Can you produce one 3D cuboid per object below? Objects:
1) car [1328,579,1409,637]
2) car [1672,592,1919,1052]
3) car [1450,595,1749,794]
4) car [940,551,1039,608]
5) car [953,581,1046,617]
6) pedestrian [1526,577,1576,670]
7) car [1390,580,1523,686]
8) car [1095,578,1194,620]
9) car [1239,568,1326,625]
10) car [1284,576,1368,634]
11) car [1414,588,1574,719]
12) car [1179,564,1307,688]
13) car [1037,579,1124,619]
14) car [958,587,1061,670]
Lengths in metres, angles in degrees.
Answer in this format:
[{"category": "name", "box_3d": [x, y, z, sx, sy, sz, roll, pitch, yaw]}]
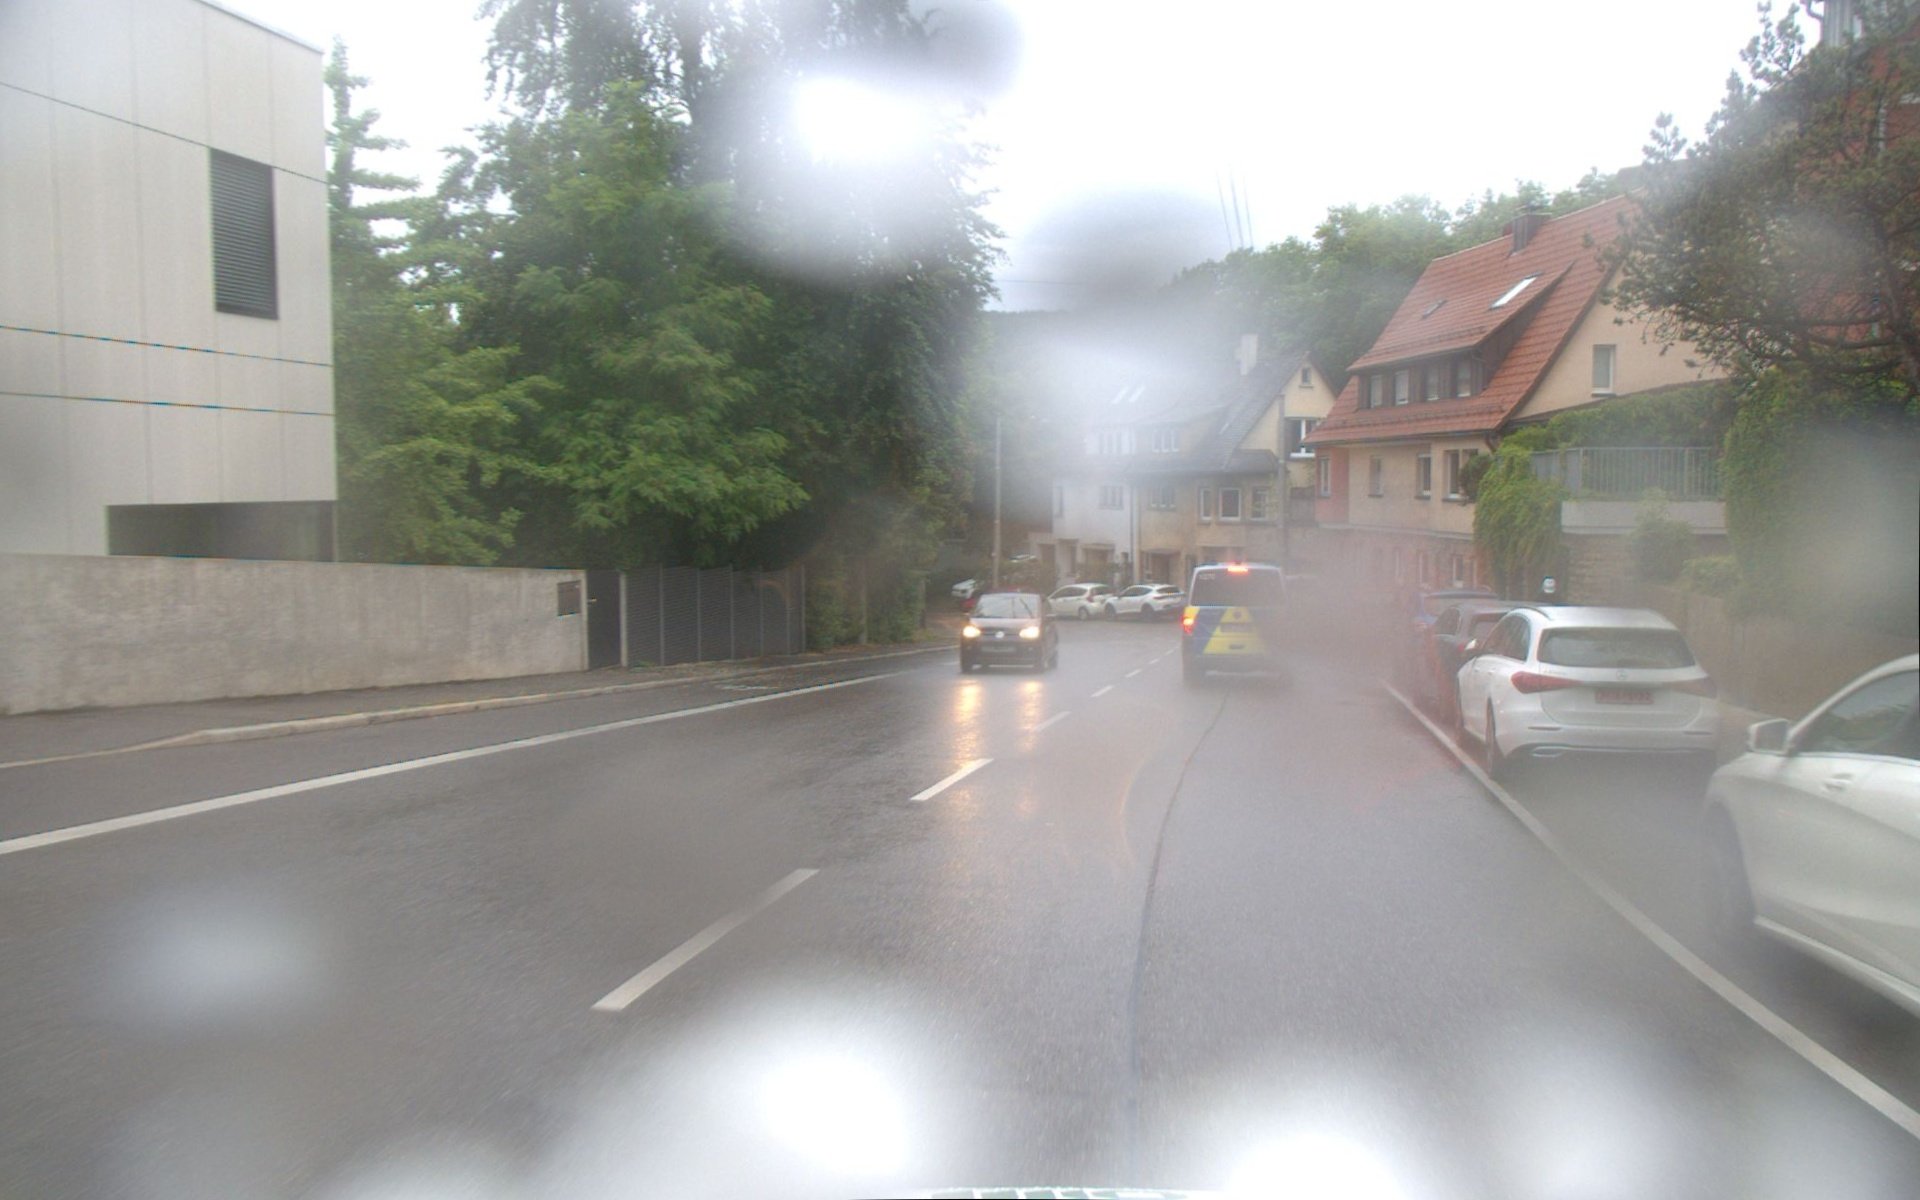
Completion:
[{"category": "car", "box_3d": [12.028, 0.196, 48.865, 1.581, 1.460, 3.583, -4, 2, 3]}, {"category": "car", "box_3d": [4.165, 0.744, 6.055, 1.741, 1.460, 4.573, -3, 1, 9]}, {"category": "car", "box_3d": [5.603, 0.728, 15.019, 1.768, 1.481, 4.258, 0, 1, 10]}, {"category": "car", "box_3d": [1.494, -1.071, 83.481, 4.340, 1.870, 1.989, -14, 7, -19]}, {"category": "car", "box_3d": [1.810, -0.043, 77.050, 4.122, 1.390, 1.776, -3, 2, 43]}, {"category": "pedestrian", "box_3d": [10.727, 0.422, 30.038, 0.609, 1.679, 0.612, 1, 0, -17]}, {"category": "car", "box_3d": [8.319, 0.499, 28.024, 1.696, 1.621, 4.258, 0, 1, 10]}, {"category": "car", "box_3d": [7.667, -0.026, 69.148, 1.893, 1.565, 4.372, -5, 2, -29]}, {"category": "car", "box_3d": [11.499, -0.162, 59.227, 1.673, 1.821, 4.319, -4, 2, -8]}, {"category": "car", "box_3d": [11.911, 0.120, 54.066, 1.582, 1.632, 4.411, -4, 2, -1]}, {"category": "car", "box_3d": [6.838, 0.613, 21.507, 1.653, 1.481, 4.258, 0, 1, 14]}, {"category": "car", "box_3d": [4.874, 0.435, 28.488, 1.951, 1.926, 4.574, -2, -1, 10]}, {"category": "car", "box_3d": [5.299, -0.037, 73.146, 1.751, 1.541, 3.775, -5, 2, -35]}, {"category": "car", "box_3d": [1.027, 0.503, 32.303, 1.614, 1.444, 3.806, 2, 1, 7]}]
